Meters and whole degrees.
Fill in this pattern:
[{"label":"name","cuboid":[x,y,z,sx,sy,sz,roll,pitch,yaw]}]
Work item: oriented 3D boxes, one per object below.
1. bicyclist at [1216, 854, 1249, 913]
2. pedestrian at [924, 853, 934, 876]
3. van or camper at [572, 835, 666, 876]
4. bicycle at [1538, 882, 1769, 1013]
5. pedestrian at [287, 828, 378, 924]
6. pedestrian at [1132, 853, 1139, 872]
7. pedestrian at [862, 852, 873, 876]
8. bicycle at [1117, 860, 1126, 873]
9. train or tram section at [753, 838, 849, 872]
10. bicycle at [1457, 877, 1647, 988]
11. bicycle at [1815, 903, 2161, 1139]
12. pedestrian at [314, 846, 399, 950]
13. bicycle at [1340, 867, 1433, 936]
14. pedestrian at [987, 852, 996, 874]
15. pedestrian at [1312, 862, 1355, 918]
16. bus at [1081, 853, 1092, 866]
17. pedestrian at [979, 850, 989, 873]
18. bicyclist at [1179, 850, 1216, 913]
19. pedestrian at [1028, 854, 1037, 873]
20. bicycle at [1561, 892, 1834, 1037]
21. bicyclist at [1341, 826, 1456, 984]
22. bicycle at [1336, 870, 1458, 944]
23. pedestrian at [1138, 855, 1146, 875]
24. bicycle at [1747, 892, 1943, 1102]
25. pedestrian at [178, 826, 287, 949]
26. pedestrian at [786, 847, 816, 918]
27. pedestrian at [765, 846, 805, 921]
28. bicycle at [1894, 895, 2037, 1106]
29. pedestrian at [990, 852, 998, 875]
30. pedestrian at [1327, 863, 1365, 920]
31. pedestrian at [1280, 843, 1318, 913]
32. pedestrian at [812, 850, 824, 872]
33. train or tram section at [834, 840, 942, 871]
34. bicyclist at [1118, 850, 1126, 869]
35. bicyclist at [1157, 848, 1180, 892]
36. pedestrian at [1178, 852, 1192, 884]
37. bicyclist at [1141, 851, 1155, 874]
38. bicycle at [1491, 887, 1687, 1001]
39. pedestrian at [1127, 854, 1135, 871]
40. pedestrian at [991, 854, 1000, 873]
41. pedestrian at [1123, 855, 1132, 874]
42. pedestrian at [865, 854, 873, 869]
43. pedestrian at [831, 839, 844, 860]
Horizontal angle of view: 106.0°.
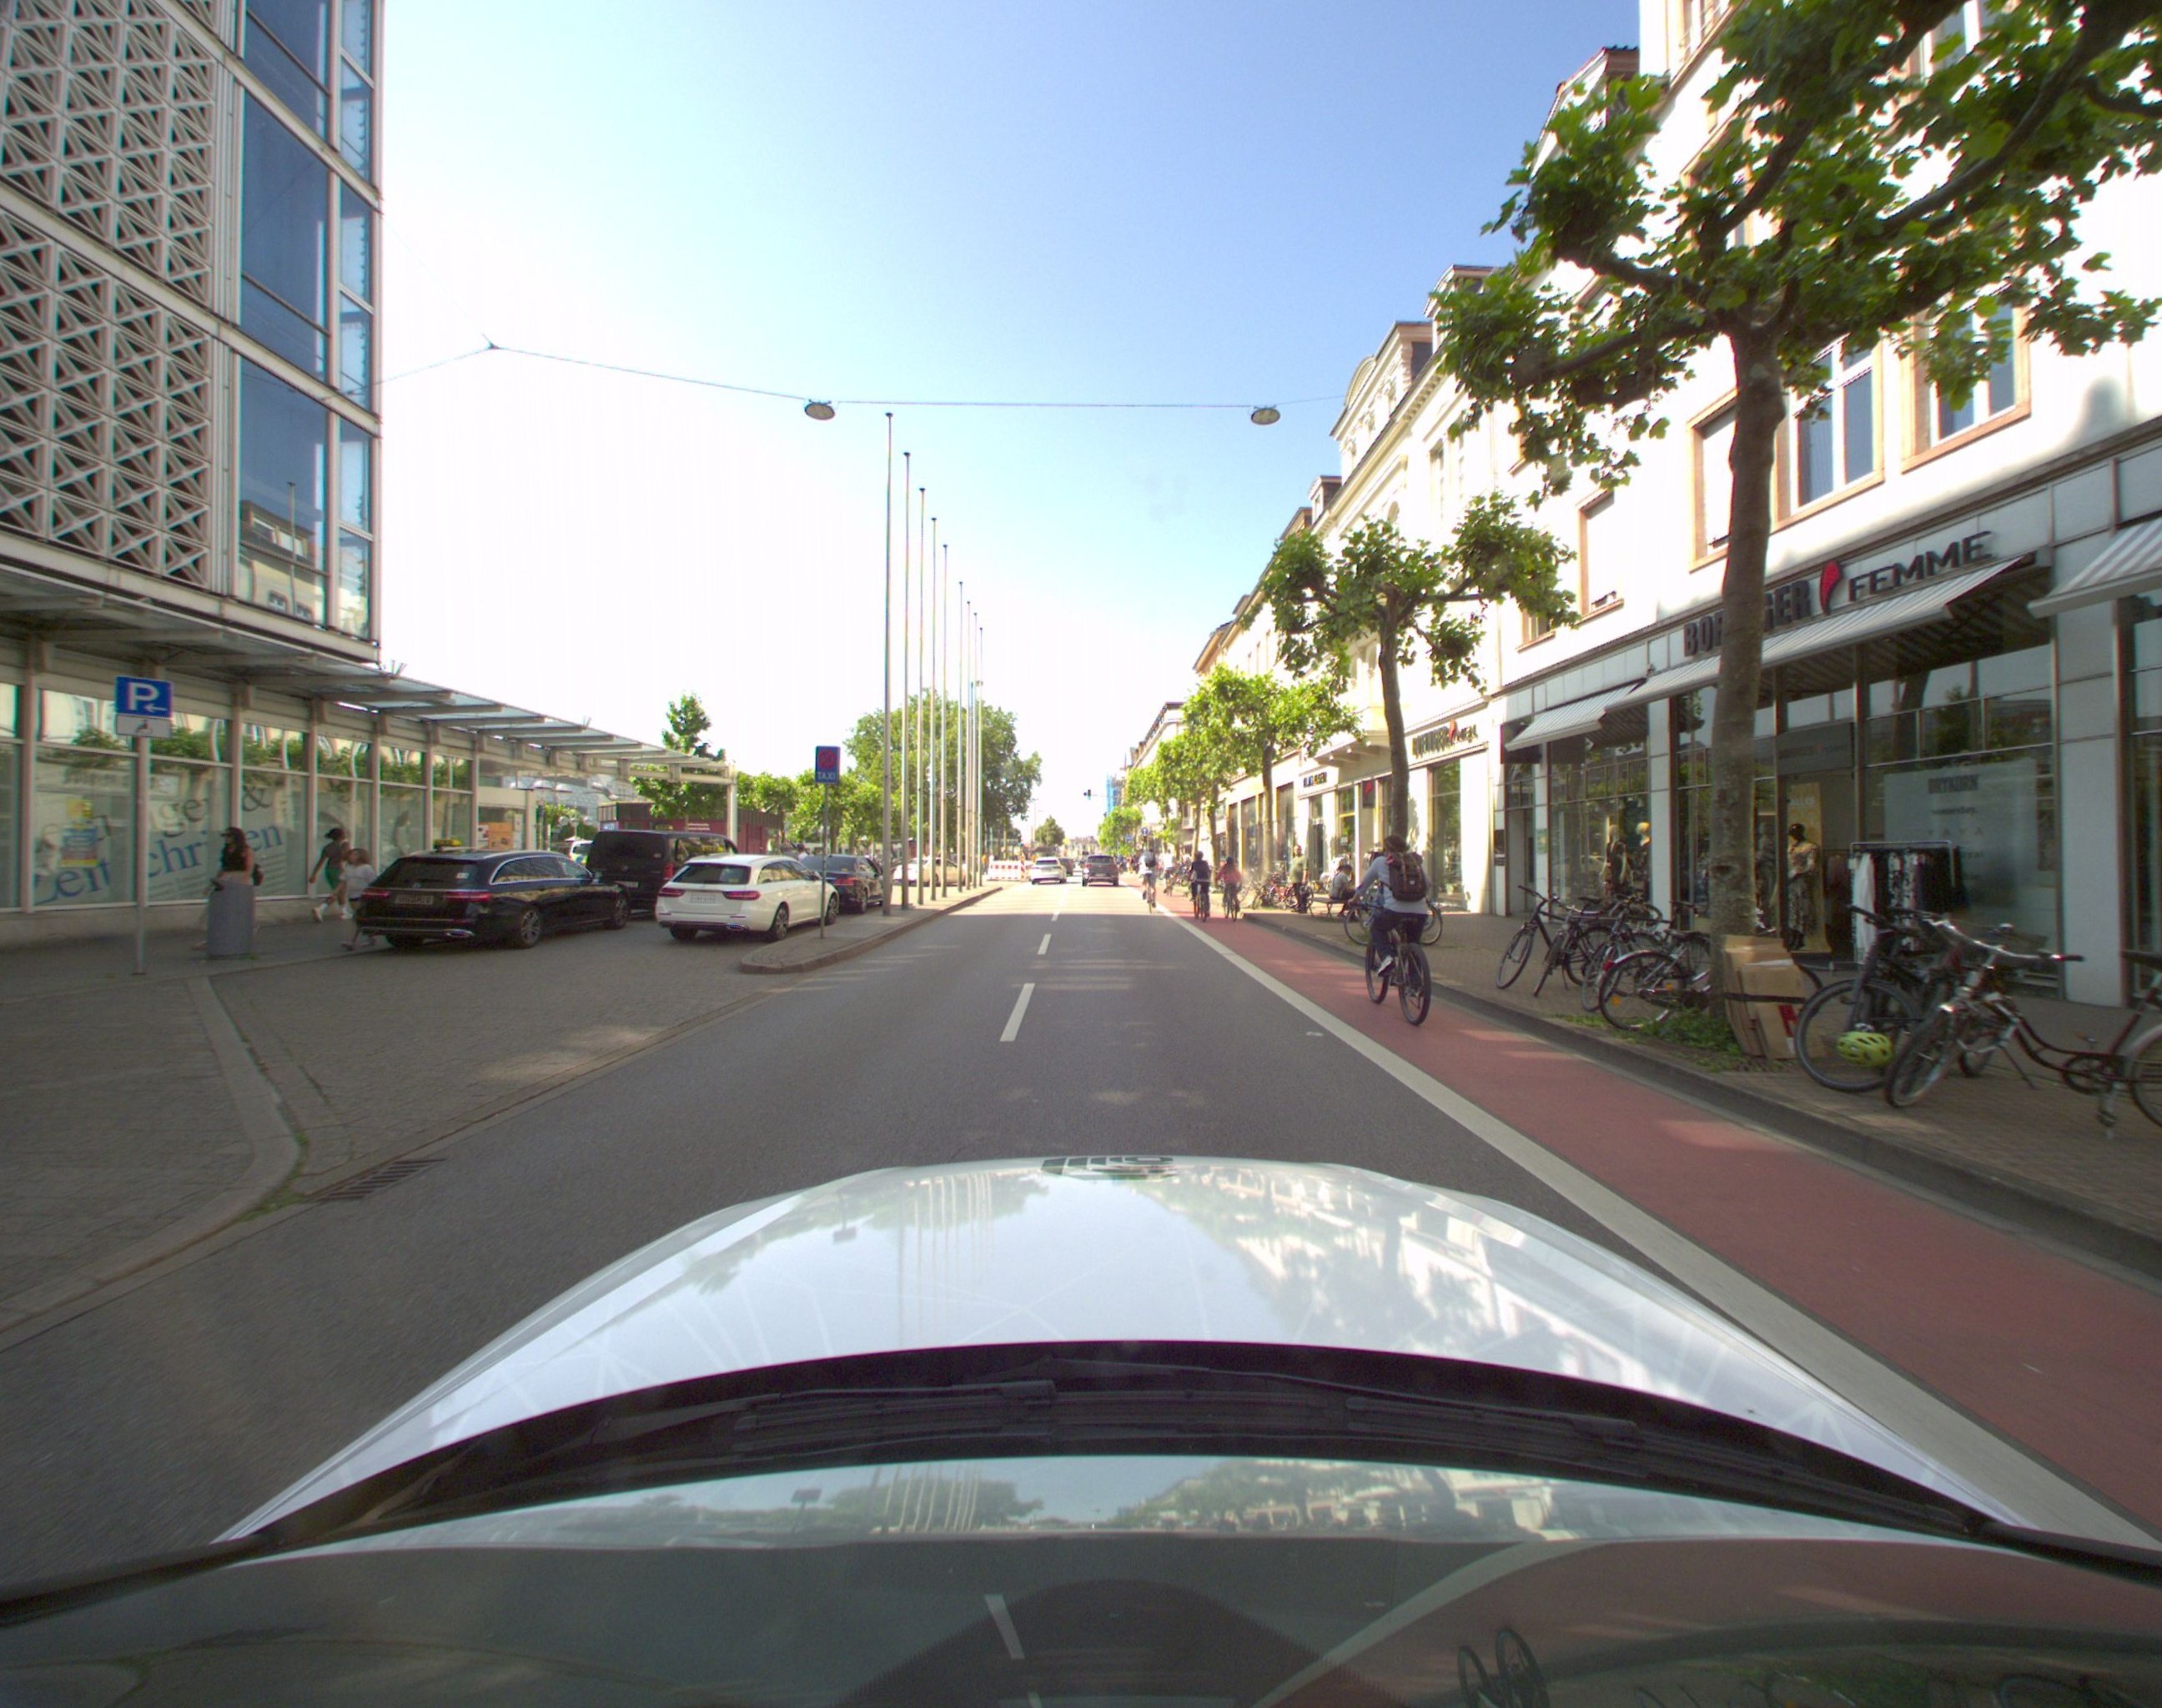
[{"label":"bicyclist","cuboid":[3.595,0.689,19.402,0.599,1.357,0.720,-1,2,-4]},{"label":"pedestrian","cuboid":[-11.971,0.833,63.952,0.582,1.723,0.789,0,-5,2]},{"label":"van or camper","cuboid":[-22.572,0.099,40.060,1.867,1.918,5.021,0,-1,-2]},{"label":"bicycle","cuboid":[5.388,0.862,7.694,1.842,1.127,0.762,2,-2,-13]},{"label":"pedestrian","cuboid":[-13.482,0.382,14.704,0.594,1.662,1.107,0,0,1]},{"label":"pedestrian","cuboid":[4.649,0.717,69.123,0.520,1.521,0.642,-1,-1,3]},{"label":"pedestrian","cuboid":[-16.025,0.761,61.056,0.573,1.739,0.607,1,-1,6]},{"label":"bicycle","cuboid":[3.324,1.012,66.475,0.645,0.998,2.030,0,0,0]},{"label":"train or tram section","cuboid":[-31.902,0.125,93.428,2.587,3.677,11.071,0,0,35]},{"label":"bicycle","cuboid":[5.149,0.848,8.932,1.840,1.127,0.630,2,-1,-11]},{"label":"bicycle","cuboid":[5.186,0.845,4.336,1.823,1.127,0.451,-1,-2,27]},{"label":"pedestrian","cuboid":[-10.382,0.622,11.689,0.591,1.437,0.640,1,-1,-3]},{"label":"bicycle","cuboid":[5.664,0.851,15.057,1.785,1.197,0.572,1,-1,-28]},{"label":"pedestrian","cuboid":[-7.059,0.711,64.279,0.537,1.779,0.607,1,-1,6]},{"label":"pedestrian","cuboid":[5.768,0.816,18.623,0.785,1.243,0.575,1,-2,-3]},{"label":"bus","cuboid":[1.451,1.730,239.163,2.986,3.594,11.739,0,-1,-1]},{"label":"pedestrian","cuboid":[-7.521,0.590,63.396,0.543,1.718,0.600,2,-1,-31]},{"label":"bicyclist","cuboid":[2.722,0.632,19.089,0.697,1.441,0.789,1,-1,-4]},{"label":"pedestrian","cuboid":[-4.264,0.836,71.783,0.627,1.595,0.690,0,-1,21]},{"label":"bicycle","cuboid":[5.043,0.884,6.717,1.834,1.093,0.564,1,-1,-1]},{"label":"bicyclist","cuboid":[3.091,0.473,8.003,0.697,1.446,0.959,1,-1,-4]},{"label":"bicycle","cuboid":[5.187,0.862,13.386,1.839,1.127,0.496,2,1,-9]},{"label":"pedestrian","cuboid":[5.005,0.905,66.751,0.546,1.631,0.589,-1,-1,3]},{"label":"bicycle","cuboid":[5.068,0.838,5.363,1.854,1.127,0.587,0,-2,-36]},{"label":"pedestrian","cuboid":[-11.840,0.455,11.387,0.785,1.660,0.640,1,-1,-3]},{"label":"pedestrian","cuboid":[-7.180,0.715,20.877,0.526,1.792,0.542,0,0,39]},{"label":"pedestrian","cuboid":[-7.279,0.713,20.028,0.612,1.792,0.697,0,0,39]},{"label":"bicycle","cuboid":[5.813,0.859,5.321,1.854,1.127,0.443,1,-2,-38]},{"label":"pedestrian","cuboid":[-6.752,0.752,63.172,0.432,1.740,0.600,2,-1,-31]},{"label":"pedestrian","cuboid":[5.881,0.820,18.119,0.637,1.233,0.596,1,-2,-3]},{"label":"pedestrian","cuboid":[5.432,0.581,20.346,0.637,1.689,0.842,2,0,-3]},{"label":"pedestrian","cuboid":[-18.571,0.516,57.532,0.573,1.532,0.607,1,-1,6]},{"label":"train or tram section","cuboid":[-24.312,0.200,104.235,2.587,3.677,15.646,0,0,35]},{"label":"bicyclist","cuboid":[3.336,0.476,66.348,0.645,1.551,0.817,0,-1,-1]},{"label":"bicyclist","cuboid":[3.313,0.611,31.034,0.772,1.635,0.851,0,0,0]},{"label":"pedestrian","cuboid":[5.346,0.723,41.800,0.613,1.612,0.745,0,-1,1]},{"label":"bicyclist","cuboid":[5.148,0.656,62.880,0.578,1.797,0.848,-2,0,-35]},{"label":"bicycle","cuboid":[5.249,0.908,8.434,1.840,1.093,0.562,1,-1,-11]},{"label":"pedestrian","cuboid":[4.548,0.802,74.394,0.608,1.515,0.677,-4,-1,-2]},{"label":"pedestrian","cuboid":[-8.126,0.892,77.549,0.627,1.810,0.734,0,-1,21]},{"label":"pedestrian","cuboid":[4.430,0.982,77.429,0.608,1.739,0.677,-4,-1,-2]},{"label":"pedestrian","cuboid":[-18.075,0.671,69.453,0.611,1.262,0.608,0,-1,-22]},{"label":"pedestrian","cuboid":[-19.678,-0.356,65.888,0.598,1.749,0.808,-1,-2,31]}]
